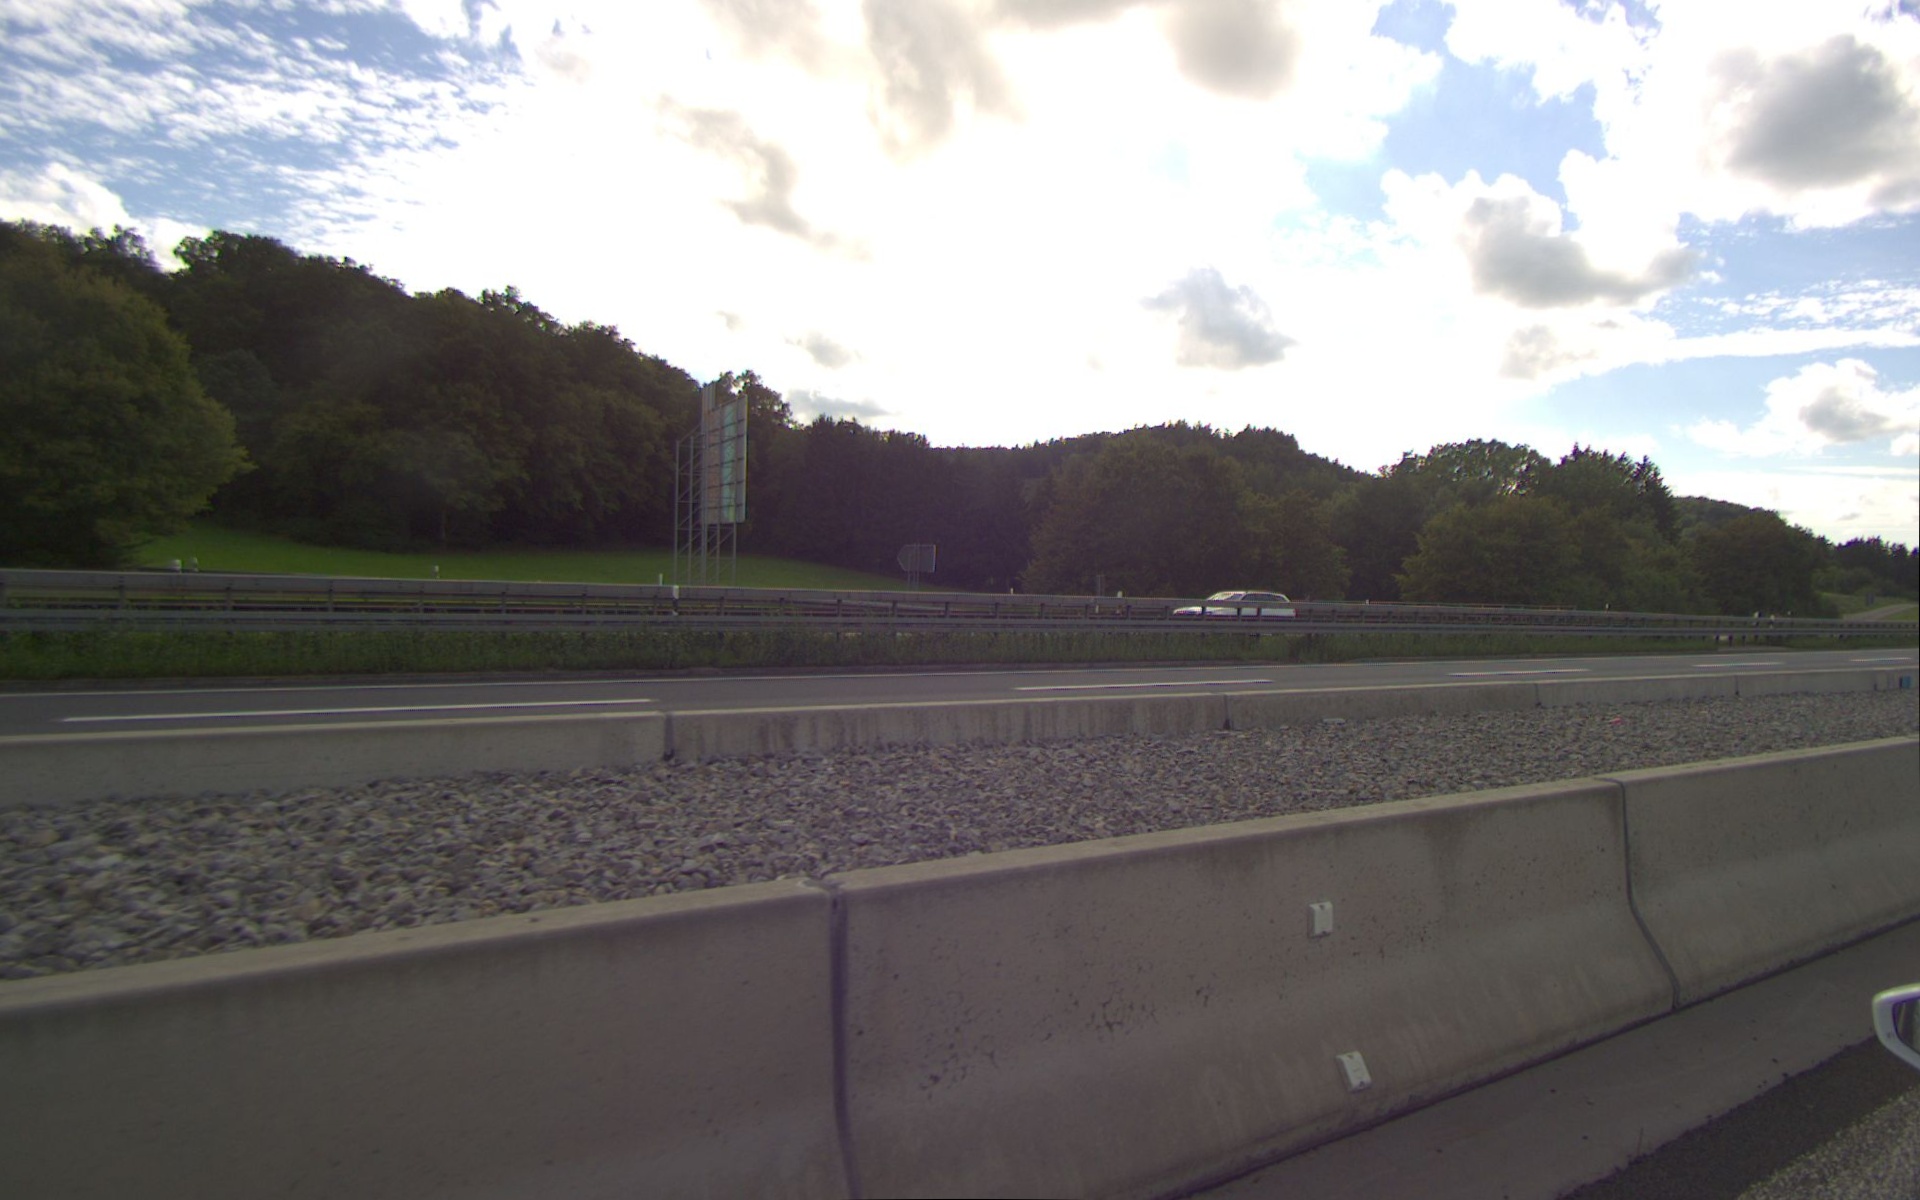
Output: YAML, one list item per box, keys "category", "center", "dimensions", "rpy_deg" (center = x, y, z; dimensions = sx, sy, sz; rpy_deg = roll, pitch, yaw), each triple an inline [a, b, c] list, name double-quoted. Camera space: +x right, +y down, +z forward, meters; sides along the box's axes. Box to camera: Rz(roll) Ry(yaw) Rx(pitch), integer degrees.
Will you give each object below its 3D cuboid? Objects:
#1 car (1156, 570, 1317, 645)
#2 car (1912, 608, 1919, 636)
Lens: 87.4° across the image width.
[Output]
- category: "car"
  center: [8.954, 0.249, 32.421]
  dimensions: [5.086, 2.263, 1.984]
  rpy_deg: [1, 1, -30]
- category: "car"
  center: [73.749, 1.712, 75.644]
  dimensions: [4.225, 2.041, 1.982]
  rpy_deg: [1, 1, -32]
